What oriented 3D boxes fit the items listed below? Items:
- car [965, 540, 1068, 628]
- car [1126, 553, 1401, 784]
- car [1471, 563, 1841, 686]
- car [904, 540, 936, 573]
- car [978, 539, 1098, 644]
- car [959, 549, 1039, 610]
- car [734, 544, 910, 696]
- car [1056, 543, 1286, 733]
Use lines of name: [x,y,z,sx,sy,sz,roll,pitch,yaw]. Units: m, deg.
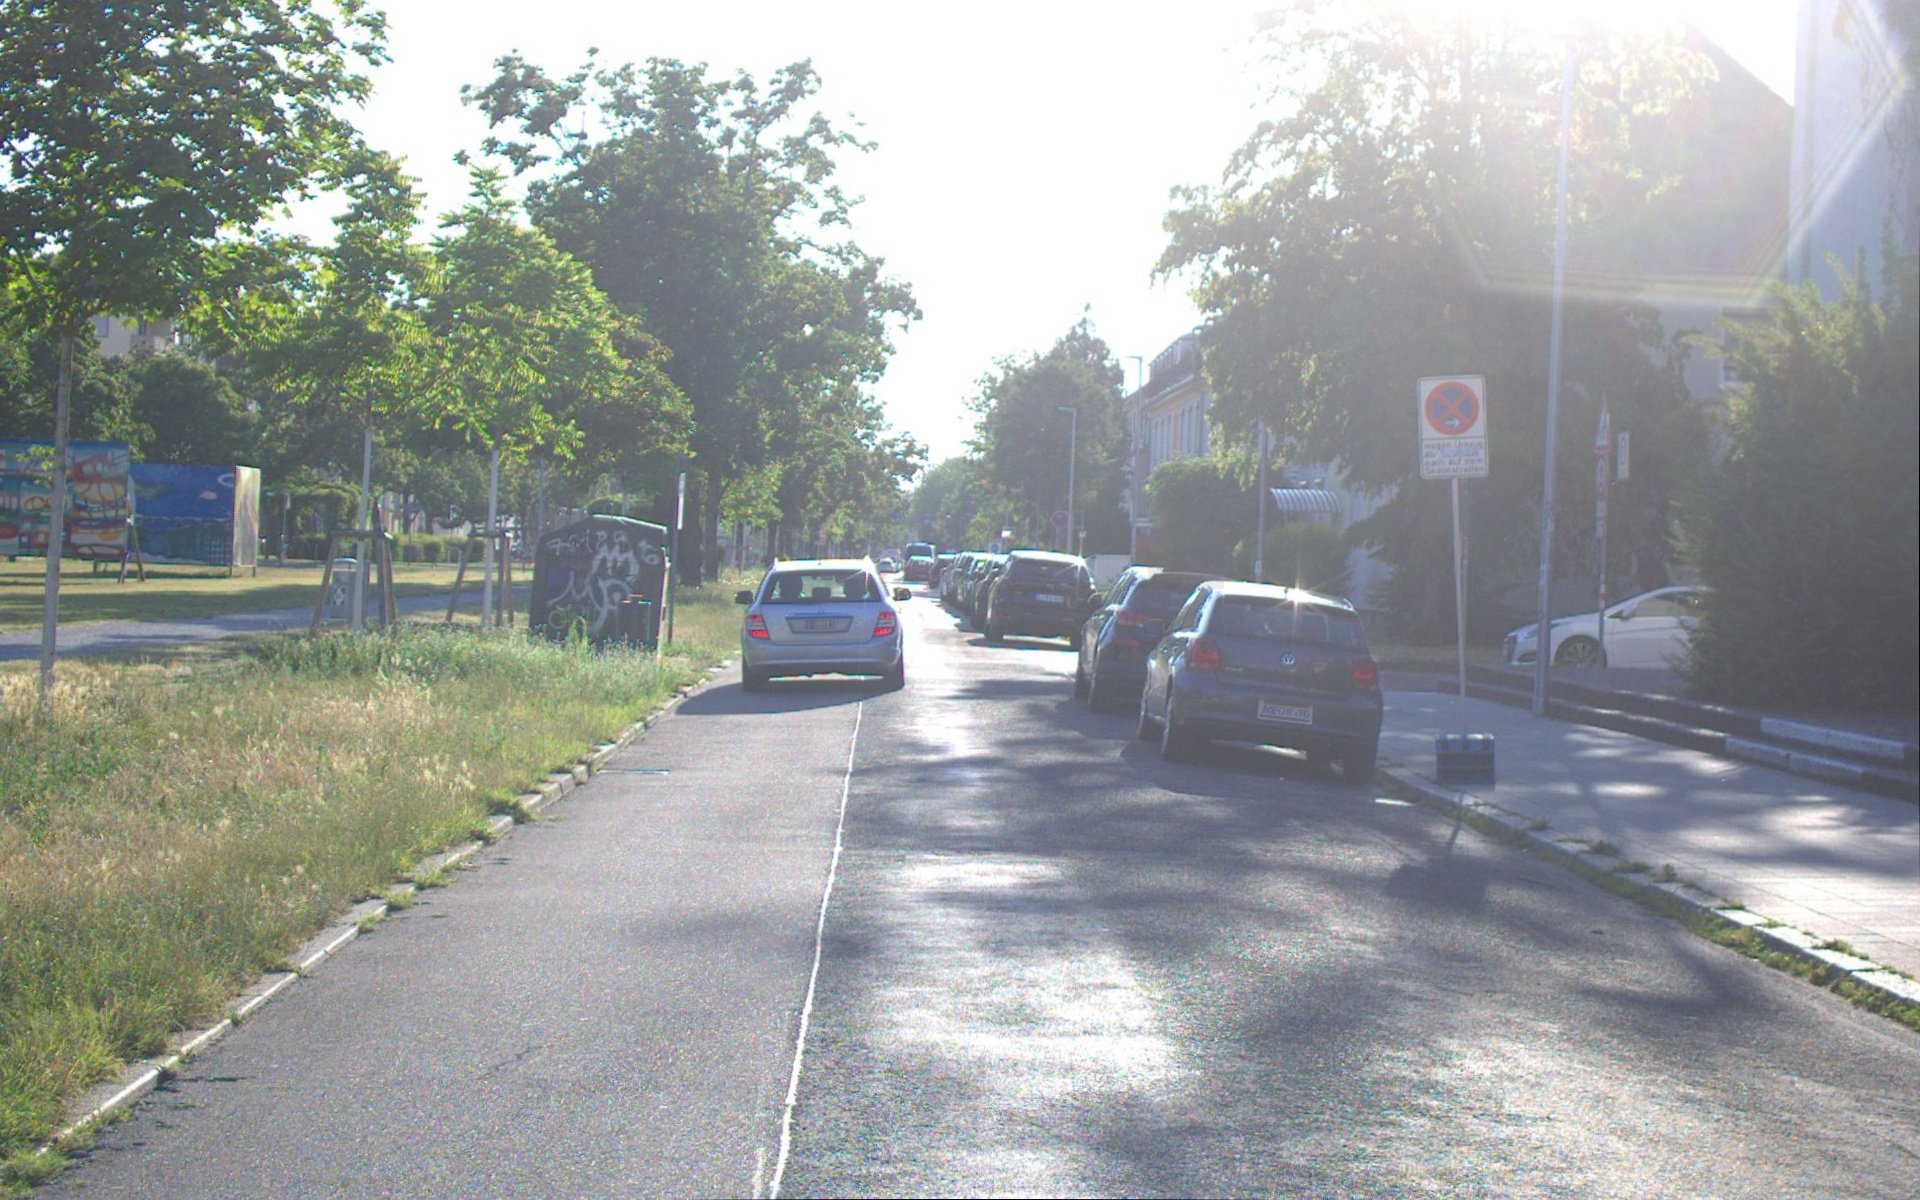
car: [1.198,-0.385,75.245,1.933,1.714,4.622,5,1,-2]
car: [2.412,0.494,28.240,1.687,1.522,4.175,6,2,-1]
car: [9.982,0.371,49.527,4.846,1.481,2.002,3,-3,-1]
car: [-2.548,-2.785,219.850,1.988,2.016,4.000,2,1,-1]
car: [1.390,-0.158,63.298,1.832,1.726,5.032,4,0,-2]
car: [1.017,-0.559,91.160,1.993,1.457,4.562,4,1,0]
car: [-1.492,0.178,38.498,1.823,1.561,4.000,1,1,-1]
car: [2.074,0.326,35.013,1.822,1.556,4.622,8,1,-1]
